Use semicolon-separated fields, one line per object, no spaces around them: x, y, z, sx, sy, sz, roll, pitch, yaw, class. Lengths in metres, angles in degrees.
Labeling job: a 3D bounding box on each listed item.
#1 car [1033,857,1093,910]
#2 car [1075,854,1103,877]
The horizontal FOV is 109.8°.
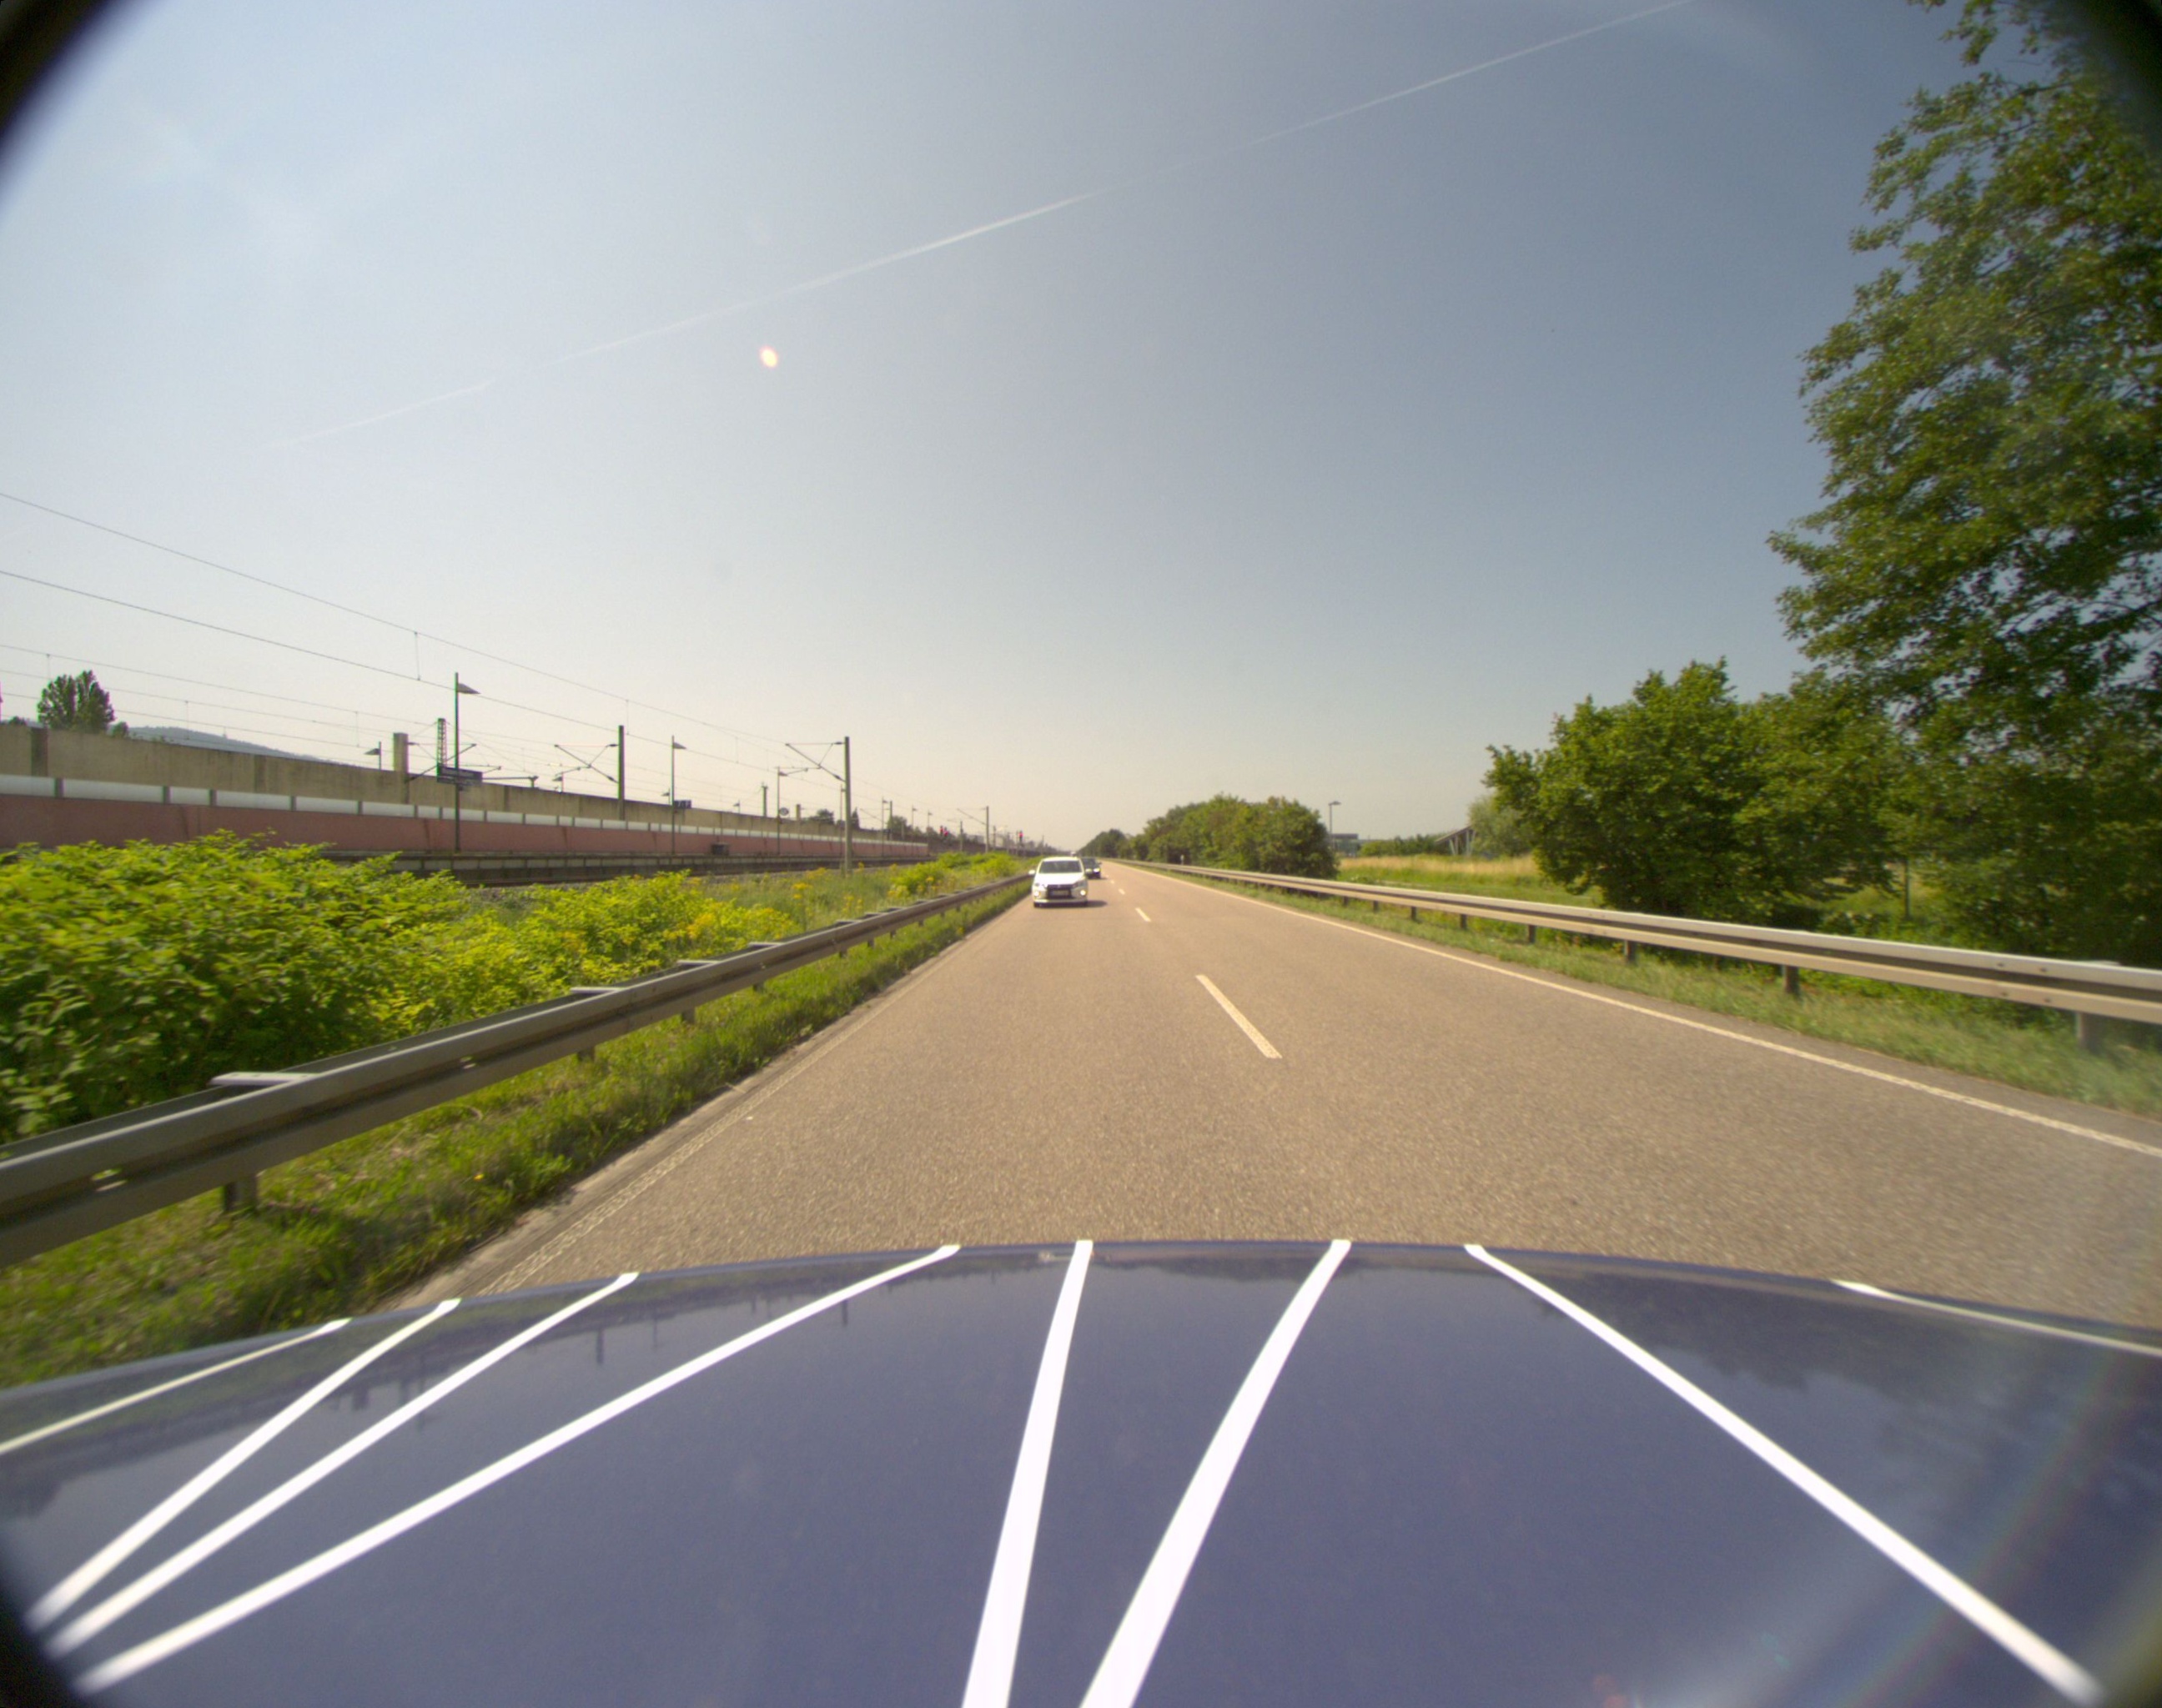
-0.590;0.871;24.002;1.701;1.470;4.154;-1;0;-2;car
0.533;0.759;52.060;1.711;1.470;4.154;-1;0;-2;car
